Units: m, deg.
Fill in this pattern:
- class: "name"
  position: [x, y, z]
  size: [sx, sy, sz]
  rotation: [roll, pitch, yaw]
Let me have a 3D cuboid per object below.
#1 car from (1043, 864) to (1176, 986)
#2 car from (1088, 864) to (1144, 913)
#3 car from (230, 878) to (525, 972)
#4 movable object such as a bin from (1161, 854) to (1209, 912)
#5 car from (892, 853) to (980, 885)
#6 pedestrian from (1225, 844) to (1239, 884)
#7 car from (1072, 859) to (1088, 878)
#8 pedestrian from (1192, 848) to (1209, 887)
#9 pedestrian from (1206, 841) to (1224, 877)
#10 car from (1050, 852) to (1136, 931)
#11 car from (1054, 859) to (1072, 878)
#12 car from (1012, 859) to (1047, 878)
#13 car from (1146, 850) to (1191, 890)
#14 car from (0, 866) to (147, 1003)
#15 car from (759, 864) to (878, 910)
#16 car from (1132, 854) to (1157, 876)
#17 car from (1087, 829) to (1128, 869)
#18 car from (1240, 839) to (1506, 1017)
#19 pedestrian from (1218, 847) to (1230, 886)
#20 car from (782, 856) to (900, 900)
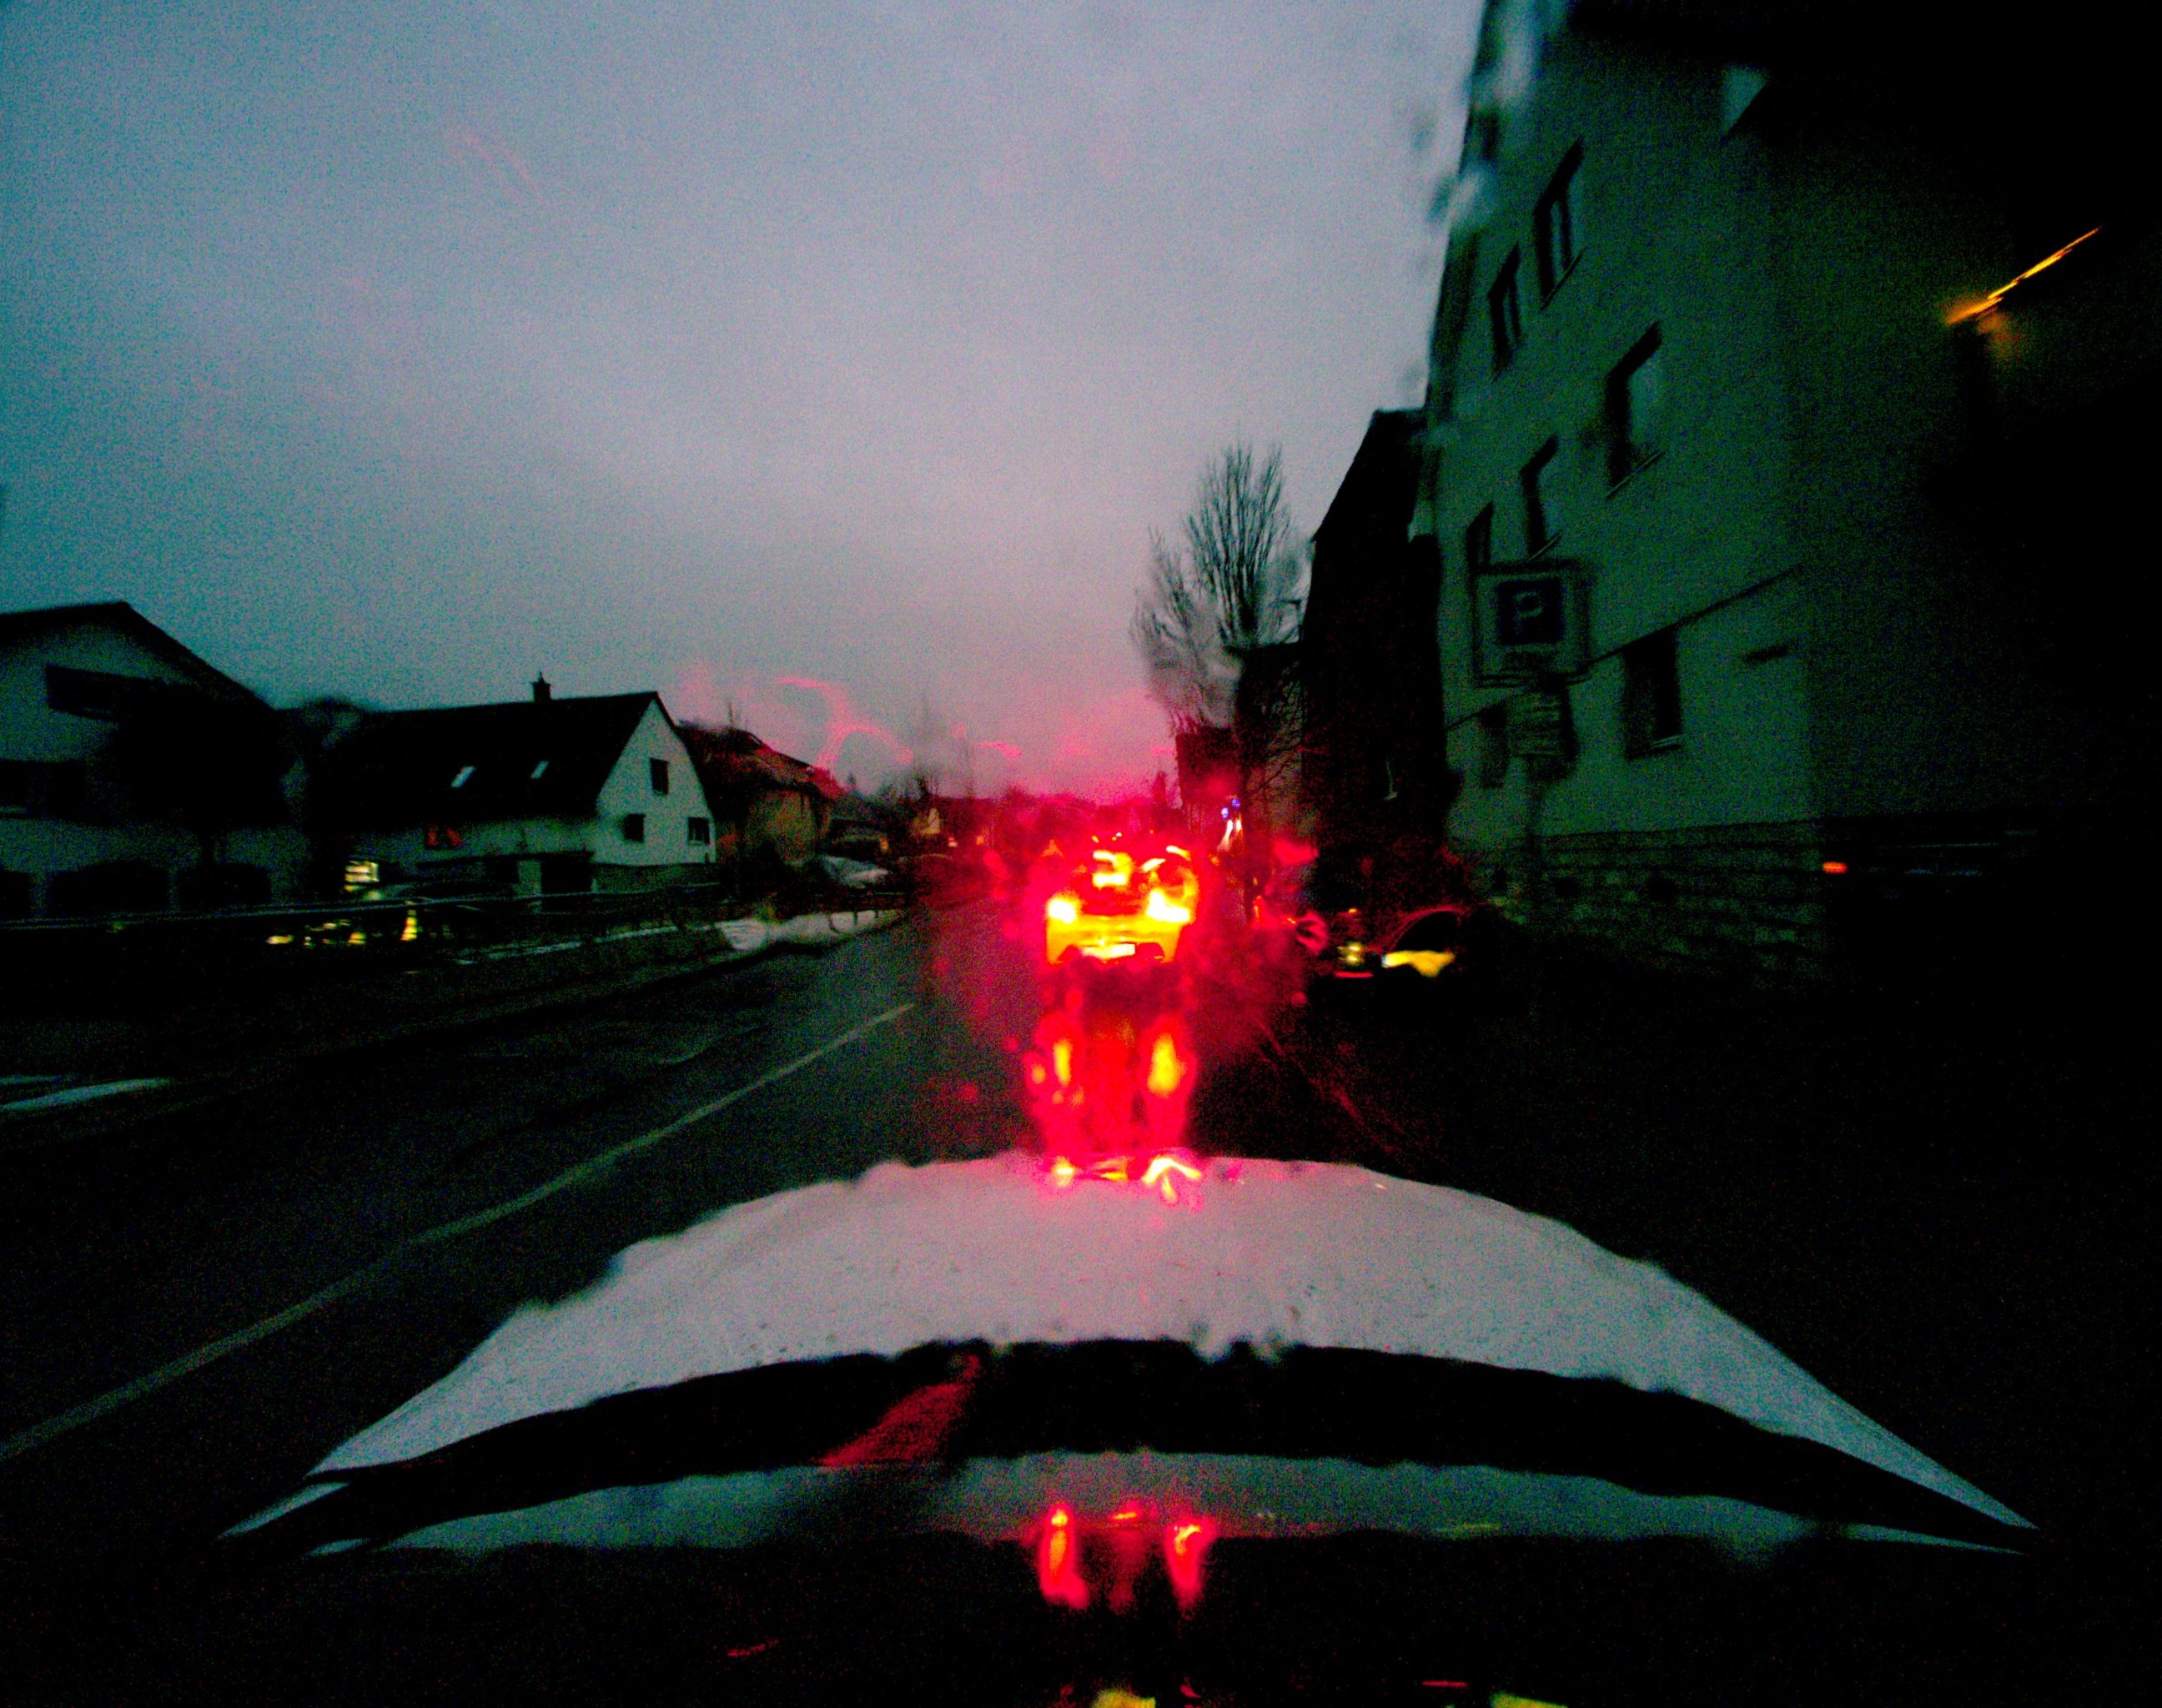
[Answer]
- class: "car"
  position: [0.389, 0.853, 11.090]
  size: [1.557, 1.412, 3.019]
  rotation: [0, 0, 2]
- class: "car"
  position: [1.035, 0.971, 24.219]
  size: [1.535, 1.331, 3.313]
  rotation: [0, 0, 2]
- class: "car"
  position: [-14.064, 1.329, 16.735]
  size: [1.794, 1.483, 4.577]
  rotation: [-4, -1, 4]
- class: "movable object such as a bin"
  position: [2.826, 0.773, 22.267]
  size: [1.124, 1.420, 1.419]
  rotation: [-5, 0, 4]
- class: "car"
  position: [-8.229, 0.854, 46.473]
  size: [4.611, 1.667, 1.999]
  rotation: [-1, -1, -1]
- class: "pedestrian"
  position: [6.335, 0.428, 34.166]
  size: [0.525, 1.653, 0.957]
  rotation: [-1, -3, 12]
- class: "car"
  position: [-0.142, 1.789, 101.471]
  size: [1.913, 2.216, 3.974]
  rotation: [0, -3, 0]
- class: "pedestrian"
  position: [5.454, 0.613, 37.186]
  size: [0.570, 1.699, 0.653]
  rotation: [-4, -1, 3]
- class: "pedestrian"
  position: [6.636, 0.230, 40.270]
  size: [0.707, 1.715, 1.039]
  rotation: [-3, 0, 16]
- class: "car"
  position: [0.314, 0.776, 18.566]
  size: [1.759, 1.628, 3.587]
  rotation: [0, 0, 2]
- class: "car"
  position: [-2.011, 1.712, 93.555]
  size: [1.913, 2.028, 3.974]
  rotation: [0, -3, 0]
- class: "car"
  position: [-6.414, 1.797, 100.442]
  size: [2.011, 2.167, 4.332]
  rotation: [2, -4, -44]
- class: "car"
  position: [4.063, 0.731, 38.552]
  size: [1.729, 1.692, 4.387]
  rotation: [-2, -1, 1]
- class: "car"
  position: [-14.746, 1.114, 9.614]
  size: [1.745, 1.701, 4.575]
  rotation: [-5, 0, 8]
- class: "car"
  position: [-8.780, 1.090, 27.407]
  size: [3.432, 1.372, 1.601]
  rotation: [-2, -1, 1]
- class: "car"
  position: [5.505, 0.958, 70.513]
  size: [1.989, 1.865, 4.085]
  rotation: [-1, -1, 2]
- class: "car"
  position: [2.146, -0.366, 67.699]
  size: [3.180, 3.032, 6.303]
  rotation: [0, -3, 0]
- class: "car"
  position: [3.003, 0.660, 9.348]
  size: [1.720, 1.464, 4.203]
  rotation: [-4, 0, 4]
- class: "pedestrian"
  position: [6.784, 0.573, 38.557]
  size: [0.525, 1.800, 0.867]
  rotation: [-1, 0, 12]
- class: "car"
  position: [-8.849, 0.872, 30.138]
  size: [3.772, 1.523, 1.719]
  rotation: [-1, -1, 8]
